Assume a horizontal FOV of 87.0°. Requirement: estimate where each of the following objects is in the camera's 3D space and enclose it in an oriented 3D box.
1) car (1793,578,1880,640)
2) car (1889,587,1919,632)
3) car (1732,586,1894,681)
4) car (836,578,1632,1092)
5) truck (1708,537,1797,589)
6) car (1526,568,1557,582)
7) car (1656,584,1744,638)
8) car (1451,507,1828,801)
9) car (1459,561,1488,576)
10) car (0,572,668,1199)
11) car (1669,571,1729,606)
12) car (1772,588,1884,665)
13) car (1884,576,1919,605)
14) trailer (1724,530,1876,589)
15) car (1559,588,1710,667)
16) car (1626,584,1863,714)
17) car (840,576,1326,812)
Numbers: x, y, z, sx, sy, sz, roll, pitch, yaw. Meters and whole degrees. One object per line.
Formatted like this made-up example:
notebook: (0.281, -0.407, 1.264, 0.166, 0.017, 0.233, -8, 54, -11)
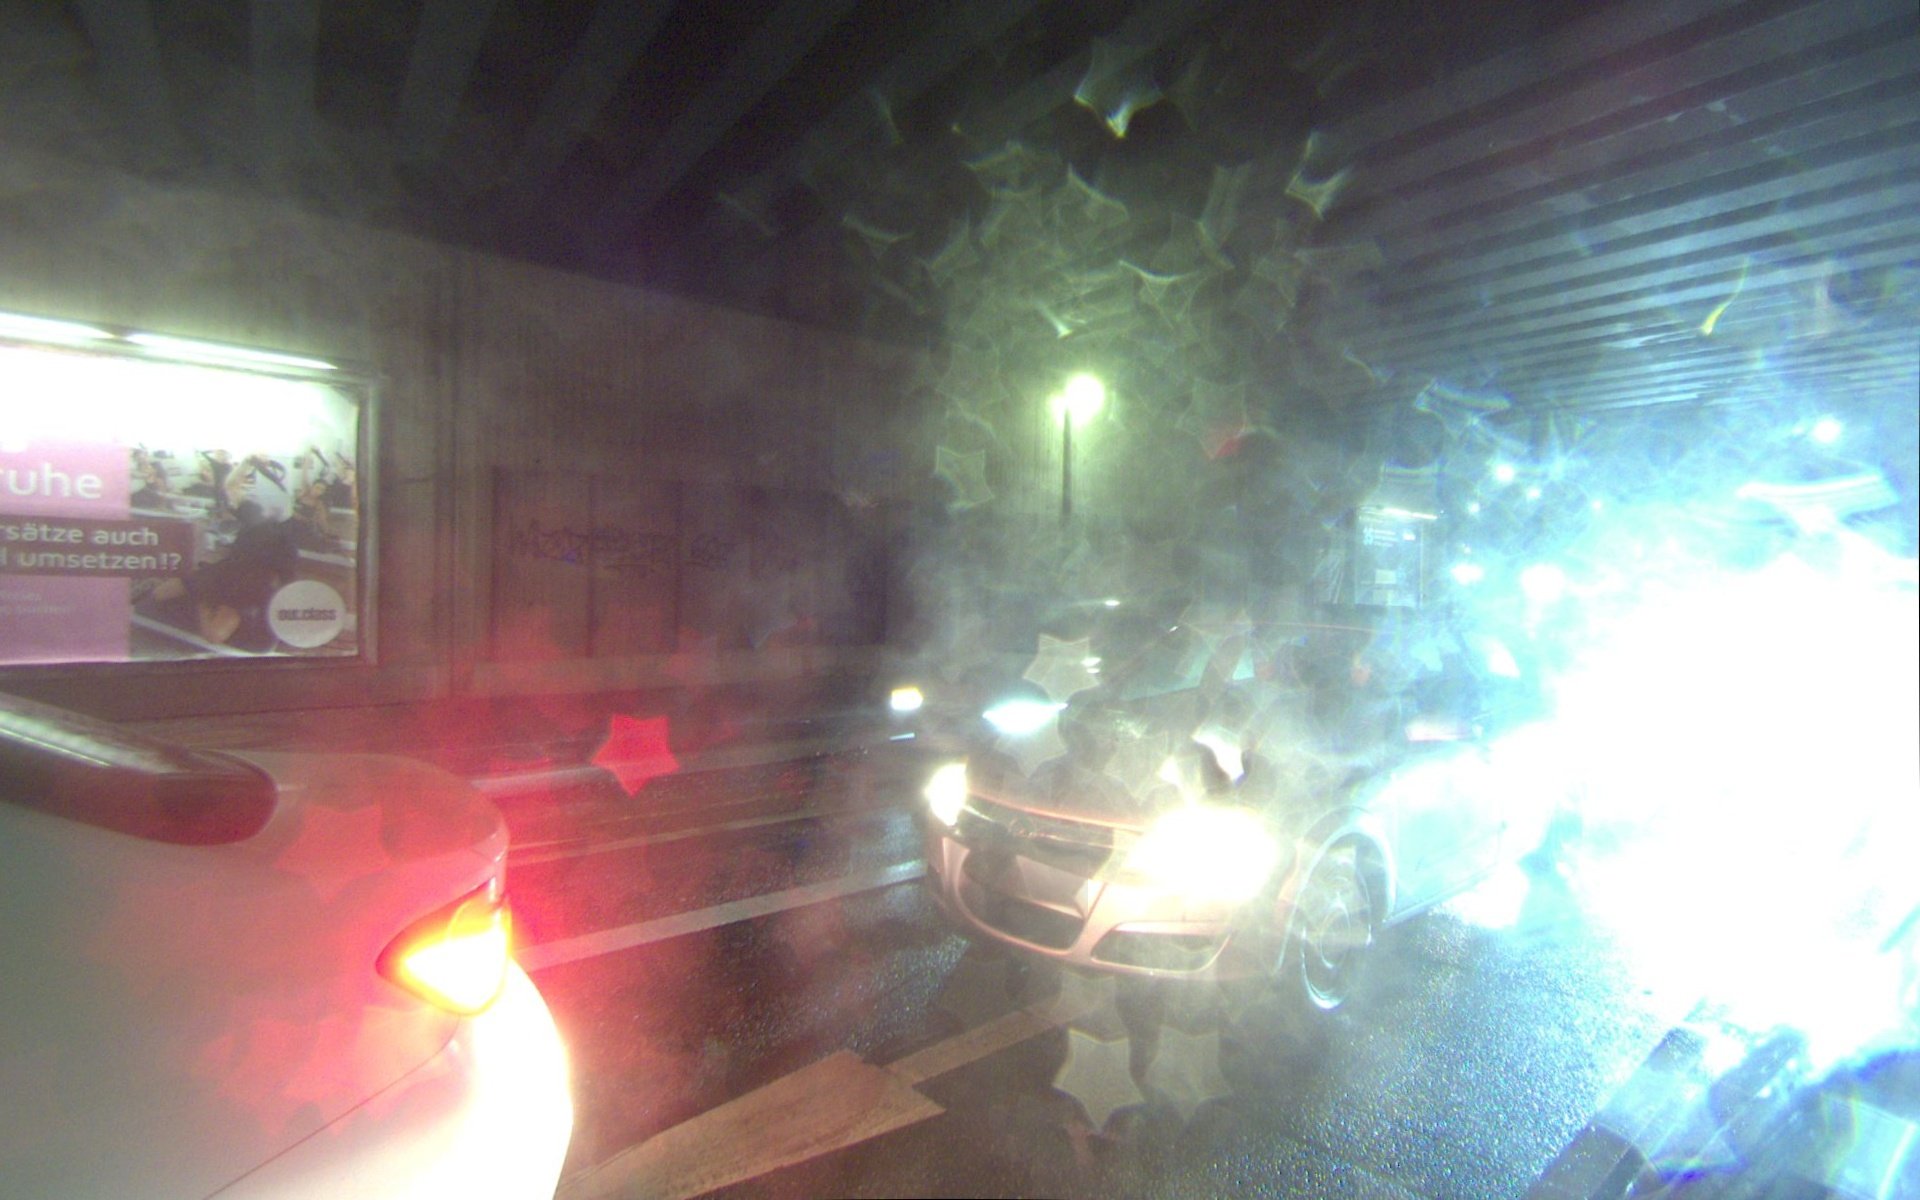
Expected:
car: (24.577, 0.215, 28.351, 1.737, 1.610, 3.939, 0, 0, 42)
car: (34.003, 0.339, 35.221, 1.842, 1.503, 4.428, 2, 1, 35)
car: (15.358, 0.510, 18.151, 3.930, 1.522, 1.628, -1, 0, -41)
car: (1.553, 0.625, 4.823, 3.931, 1.384, 1.791, -2, 2, -41)
truck: (67.831, -3.060, 86.814, 3.915, 4.229, 6.342, 0, 0, 17)
car: (63.221, -2.715, 110.145, 1.854, 1.490, 3.983, 0, 0, 14)
car: (22.993, 0.290, 31.373, 1.846, 1.449, 4.436, 0, 2, 41)
car: (6.496, 0.362, 9.478, 4.274, 2.115, 1.996, -1, 0, -43)
car: (67.096, -4.086, 132.294, 1.939, 1.763, 4.904, 0, 0, 10)
car: (-2.668, 0.690, 0.993, 4.273, 1.422, 1.719, -1, 0, -41)
car: (32.477, -0.542, 44.575, 1.840, 1.449, 4.451, 0, 2, 32)
car: (18.741, 0.498, 21.796, 1.678, 1.490, 3.938, 0, 0, 43)
car: (58.977, -0.600, 62.176, 1.951, 1.763, 4.874, 0, 0, 26)
trailer: (65.976, -2.989, 80.162, 3.914, 4.229, 13.850, 0, 0, 16)
car: (14.330, 0.507, 21.397, 1.849, 1.474, 4.429, 1, 1, 45)
car: (10.762, 0.552, 13.800, 3.701, 1.531, 1.867, -1, 0, -41)
car: (1.316, 0.603, 8.806, 1.848, 1.503, 4.556, 2, 1, 43)
